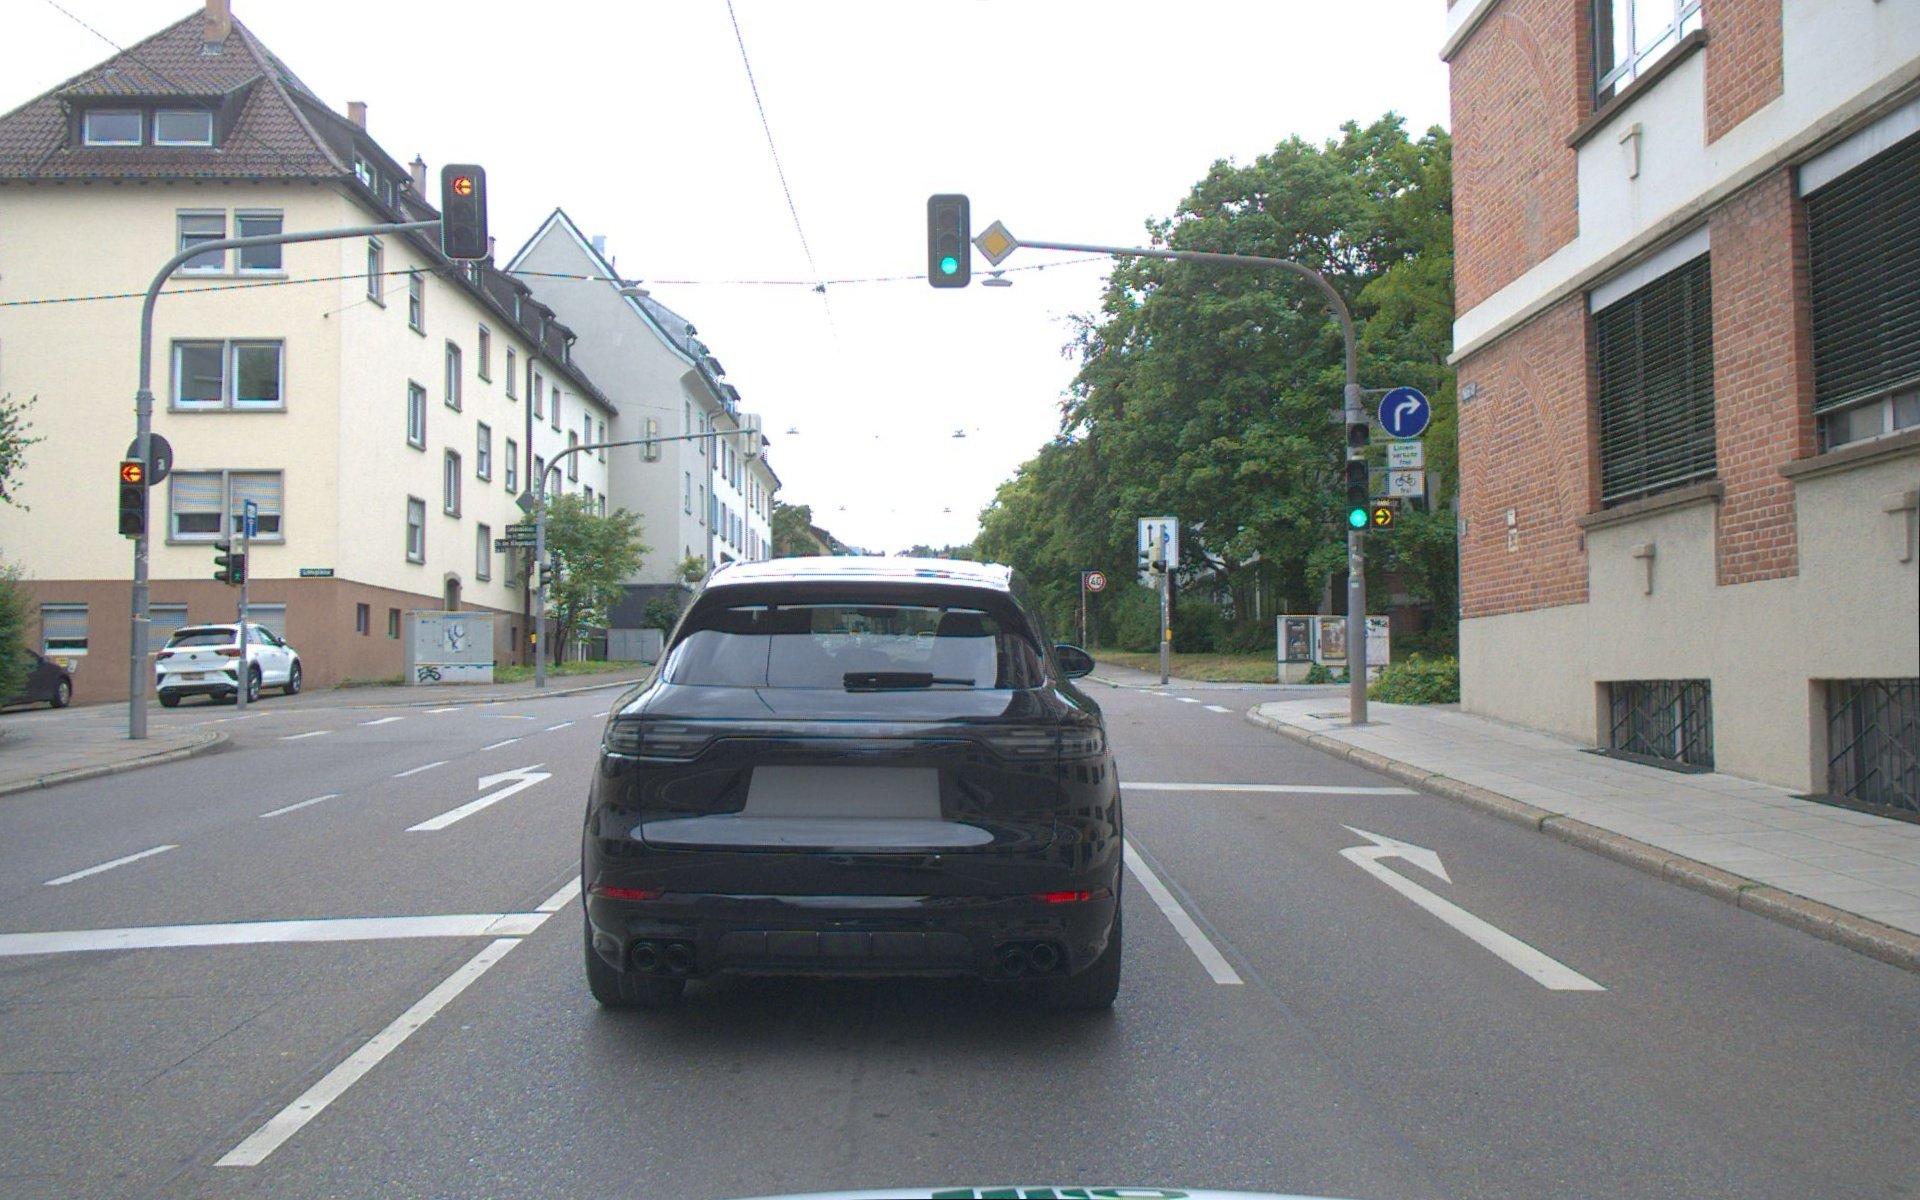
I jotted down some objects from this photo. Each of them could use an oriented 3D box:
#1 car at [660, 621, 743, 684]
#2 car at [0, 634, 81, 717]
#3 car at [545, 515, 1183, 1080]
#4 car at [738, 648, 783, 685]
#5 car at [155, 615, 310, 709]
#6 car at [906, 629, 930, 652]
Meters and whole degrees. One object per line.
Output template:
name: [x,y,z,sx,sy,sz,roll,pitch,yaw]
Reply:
car: [-7.050,1.404,45.395,1.630,1.545,3.739,-4,0,0]
car: [-19.708,1.561,33.442,1.636,1.573,4.100,-3,0,-1]
car: [-0.321,0.624,7.142,1.953,1.726,3.999,1,0,-1]
car: [-8.349,2.771,69.419,1.637,1.386,3.997,0,0,-4]
car: [-14.751,1.214,33.754,1.637,1.691,3.995,-3,0,-5]
car: [-3.084,2.987,121.557,1.654,1.579,3.886,1,0,-3]
